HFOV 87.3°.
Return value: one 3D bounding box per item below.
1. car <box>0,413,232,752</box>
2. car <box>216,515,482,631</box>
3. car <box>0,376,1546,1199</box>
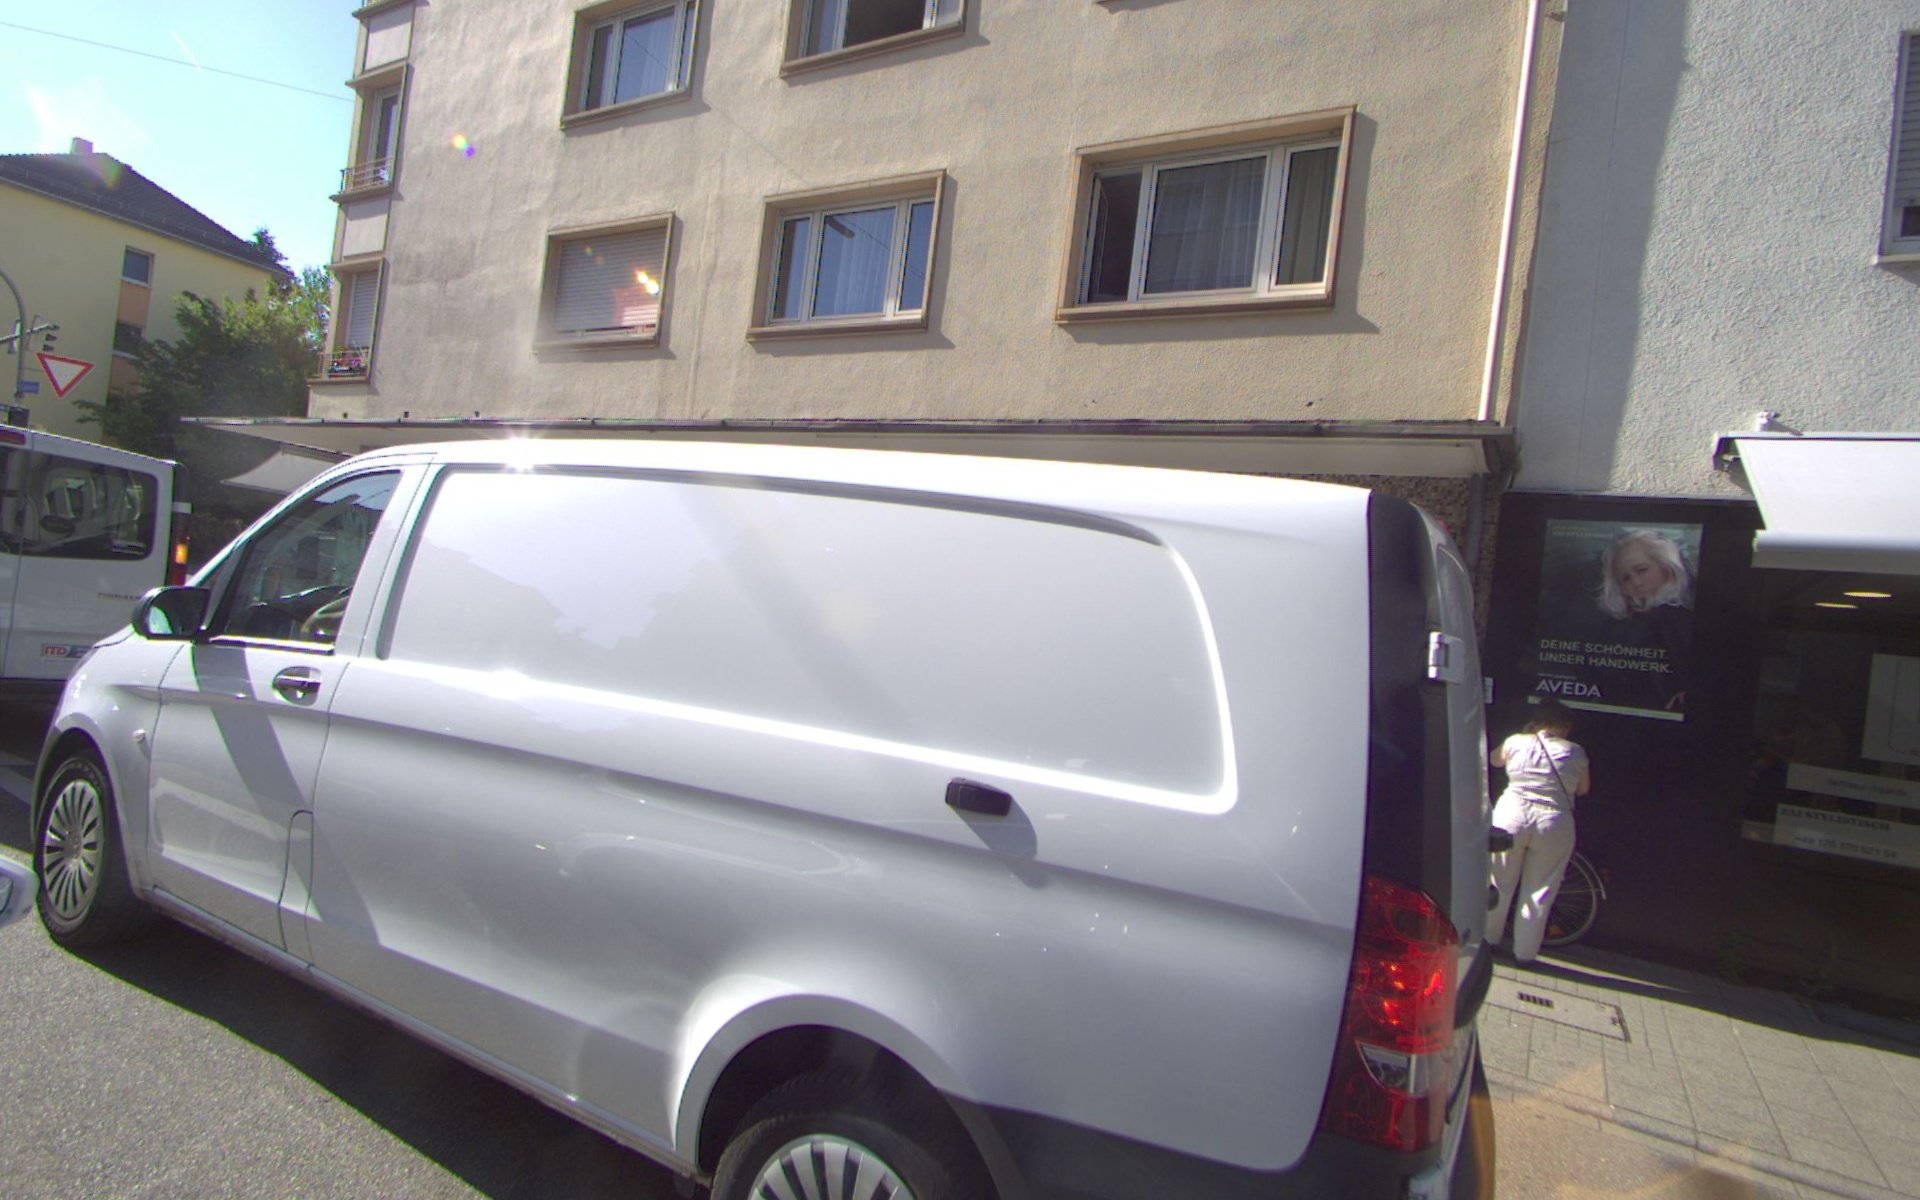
[{"bbox_3d":[-7.643,-0.308,7.237,4.972,1.962,1.973,6,-2,32],"label":"car"},{"bbox_3d":[-11.883,-0.463,19.830,1.795,1.682,3.993,7,-1,32],"label":"car"},{"bbox_3d":[-0.919,0.492,3.323,4.751,1.832,1.972,6,-1,31],"label":"car"}]
